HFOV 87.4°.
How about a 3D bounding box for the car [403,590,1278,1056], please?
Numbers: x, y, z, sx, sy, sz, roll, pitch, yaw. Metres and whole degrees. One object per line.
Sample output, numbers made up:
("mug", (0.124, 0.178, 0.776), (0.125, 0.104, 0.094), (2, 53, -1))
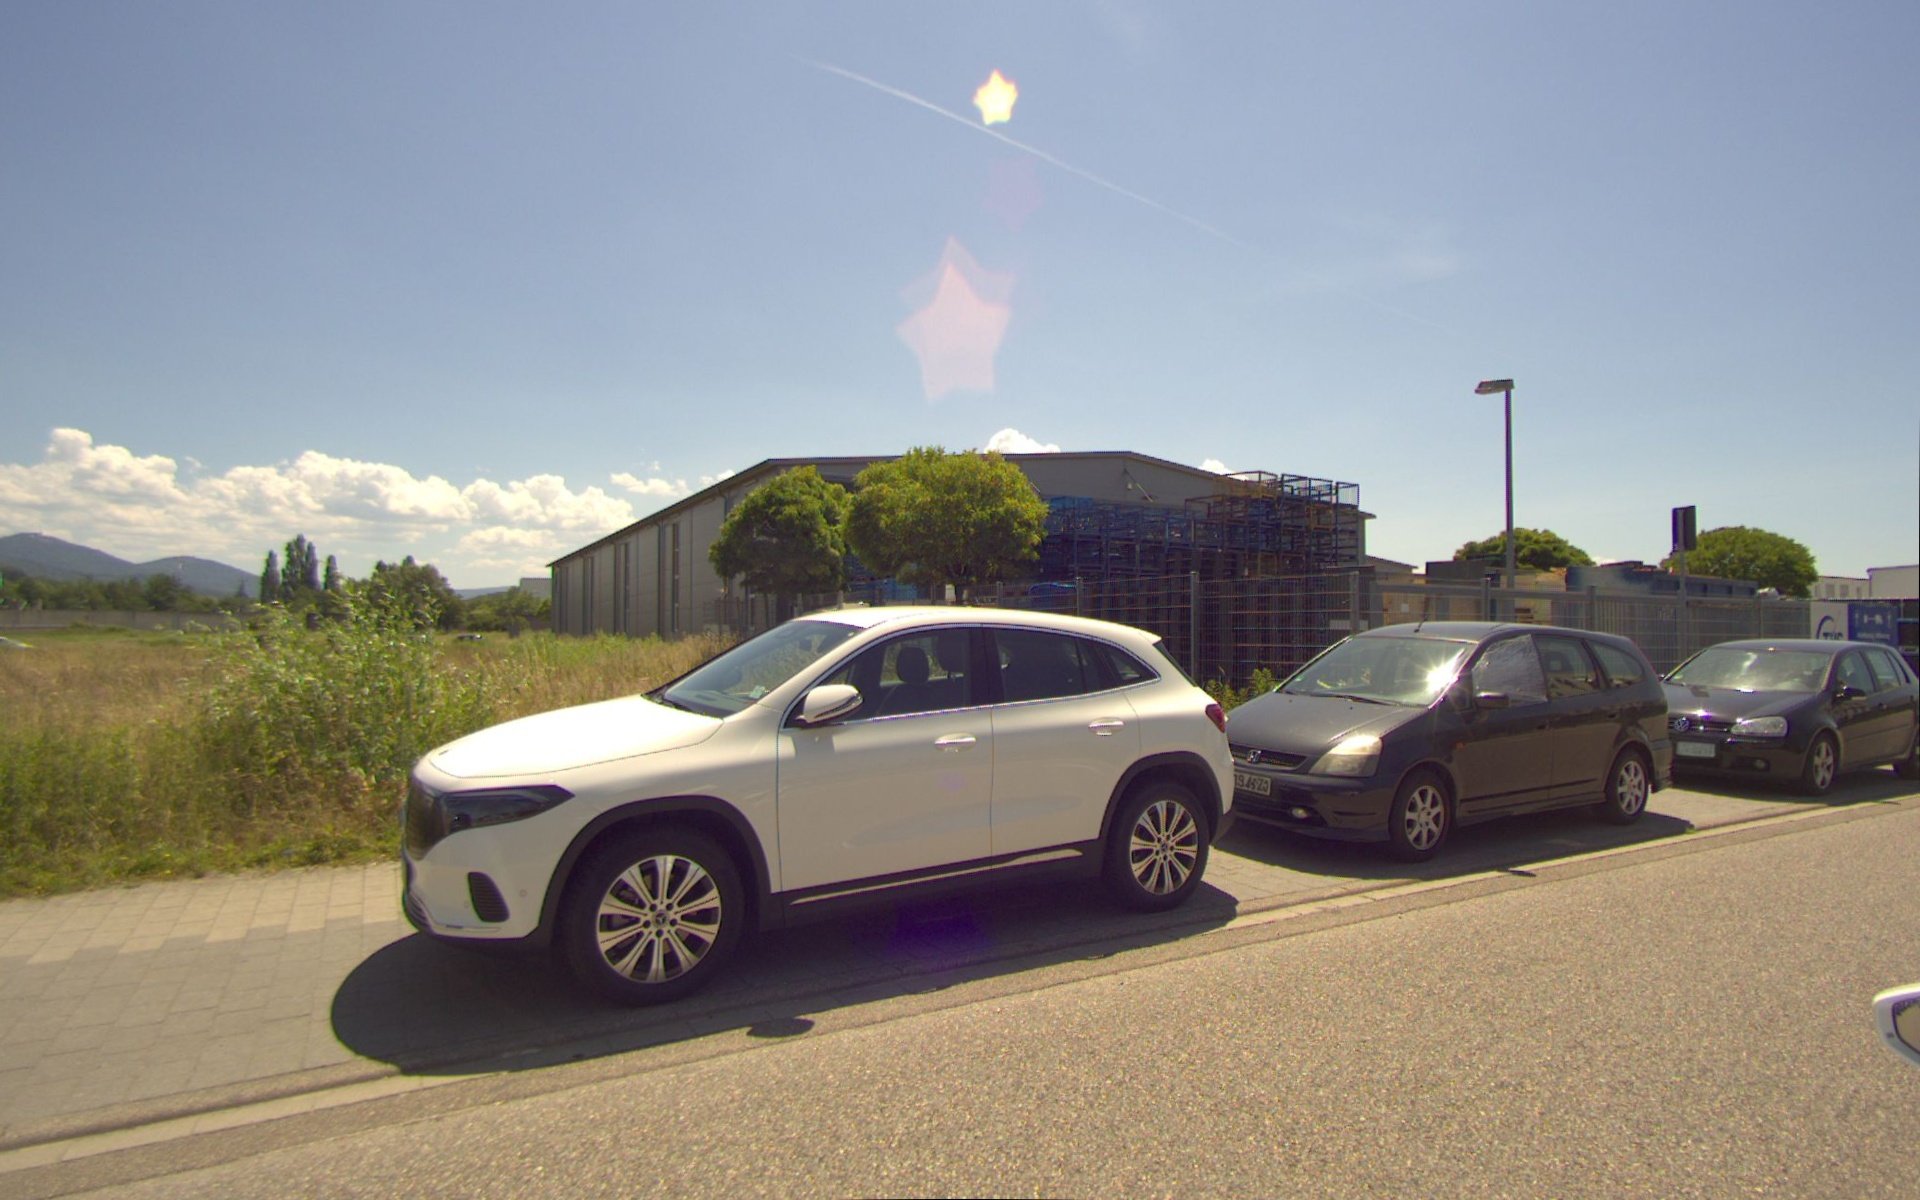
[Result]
("car", (-0.476, 0.827, 5.371), (4.310, 1.613, 1.760), (2, -1, -31))

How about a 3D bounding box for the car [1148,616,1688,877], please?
("car", (3.781, 0.958, 8.055), (4.450, 1.577, 1.760), (2, -1, -31))

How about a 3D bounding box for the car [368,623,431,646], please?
("car", (-50.245, 3.078, 90.042), (4.863, 2.040, 1.984), (1, -2, -31))

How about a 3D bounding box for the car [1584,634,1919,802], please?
("car", (8.908, 1.149, 10.971), (4.282, 1.480, 1.761), (2, -1, -30))
